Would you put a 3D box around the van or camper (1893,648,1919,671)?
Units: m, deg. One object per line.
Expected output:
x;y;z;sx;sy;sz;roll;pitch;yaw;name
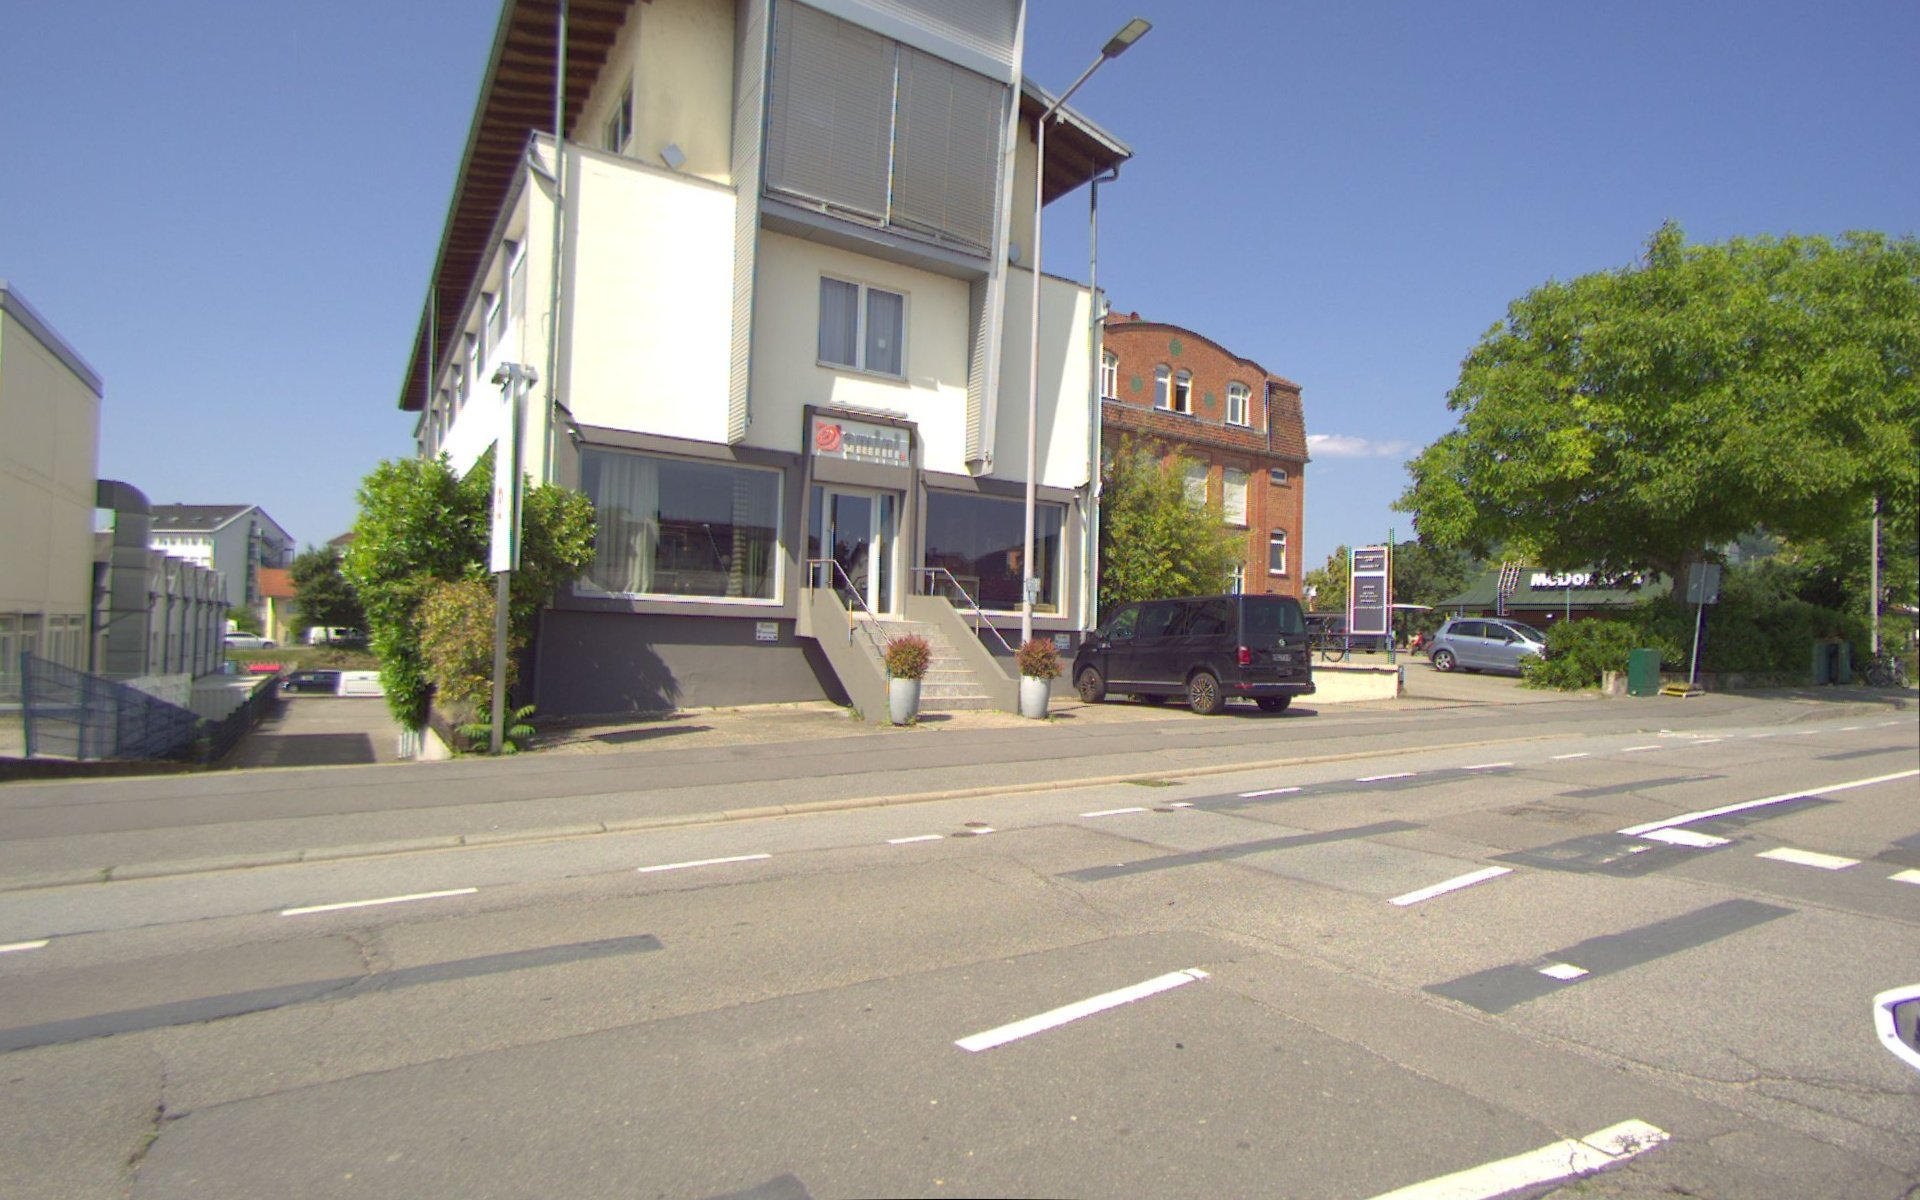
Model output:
73.685;4.625;76.335;3.939;1.595;1.991;3;0;40;van or camper

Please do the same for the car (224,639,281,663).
-61.440;4.404;87.261;3.965;2.040;1.978;2;-2;-39;car

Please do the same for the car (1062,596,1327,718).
4.024;0.909;18.032;2.069;1.890;4.543;2;-1;-31;car

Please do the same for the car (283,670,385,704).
-32.426;4.485;52.188;4.400;1.526;2.138;2;-2;-32;car

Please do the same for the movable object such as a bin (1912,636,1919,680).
35.807;2.129;36.635;1.297;1.611;1.436;2;-2;-40;movable object such as a bin

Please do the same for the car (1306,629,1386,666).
18.379;2.254;48.009;2.113;1.654;4.480;1;-2;0;car

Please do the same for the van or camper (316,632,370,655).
-56.357;3.949;91.777;4.018;2.040;1.979;2;-2;-37;van or camper

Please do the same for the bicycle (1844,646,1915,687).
28.319;2.026;30.906;2.739;1.133;1.020;2;1;-35;bicycle

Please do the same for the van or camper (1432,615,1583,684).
15.407;1.352;28.435;1.614;1.687;3.376;2;1;-30;van or camper

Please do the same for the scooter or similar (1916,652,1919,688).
31.669;2.284;32.640;1.609;1.143;0.641;2;1;-39;scooter or similar
